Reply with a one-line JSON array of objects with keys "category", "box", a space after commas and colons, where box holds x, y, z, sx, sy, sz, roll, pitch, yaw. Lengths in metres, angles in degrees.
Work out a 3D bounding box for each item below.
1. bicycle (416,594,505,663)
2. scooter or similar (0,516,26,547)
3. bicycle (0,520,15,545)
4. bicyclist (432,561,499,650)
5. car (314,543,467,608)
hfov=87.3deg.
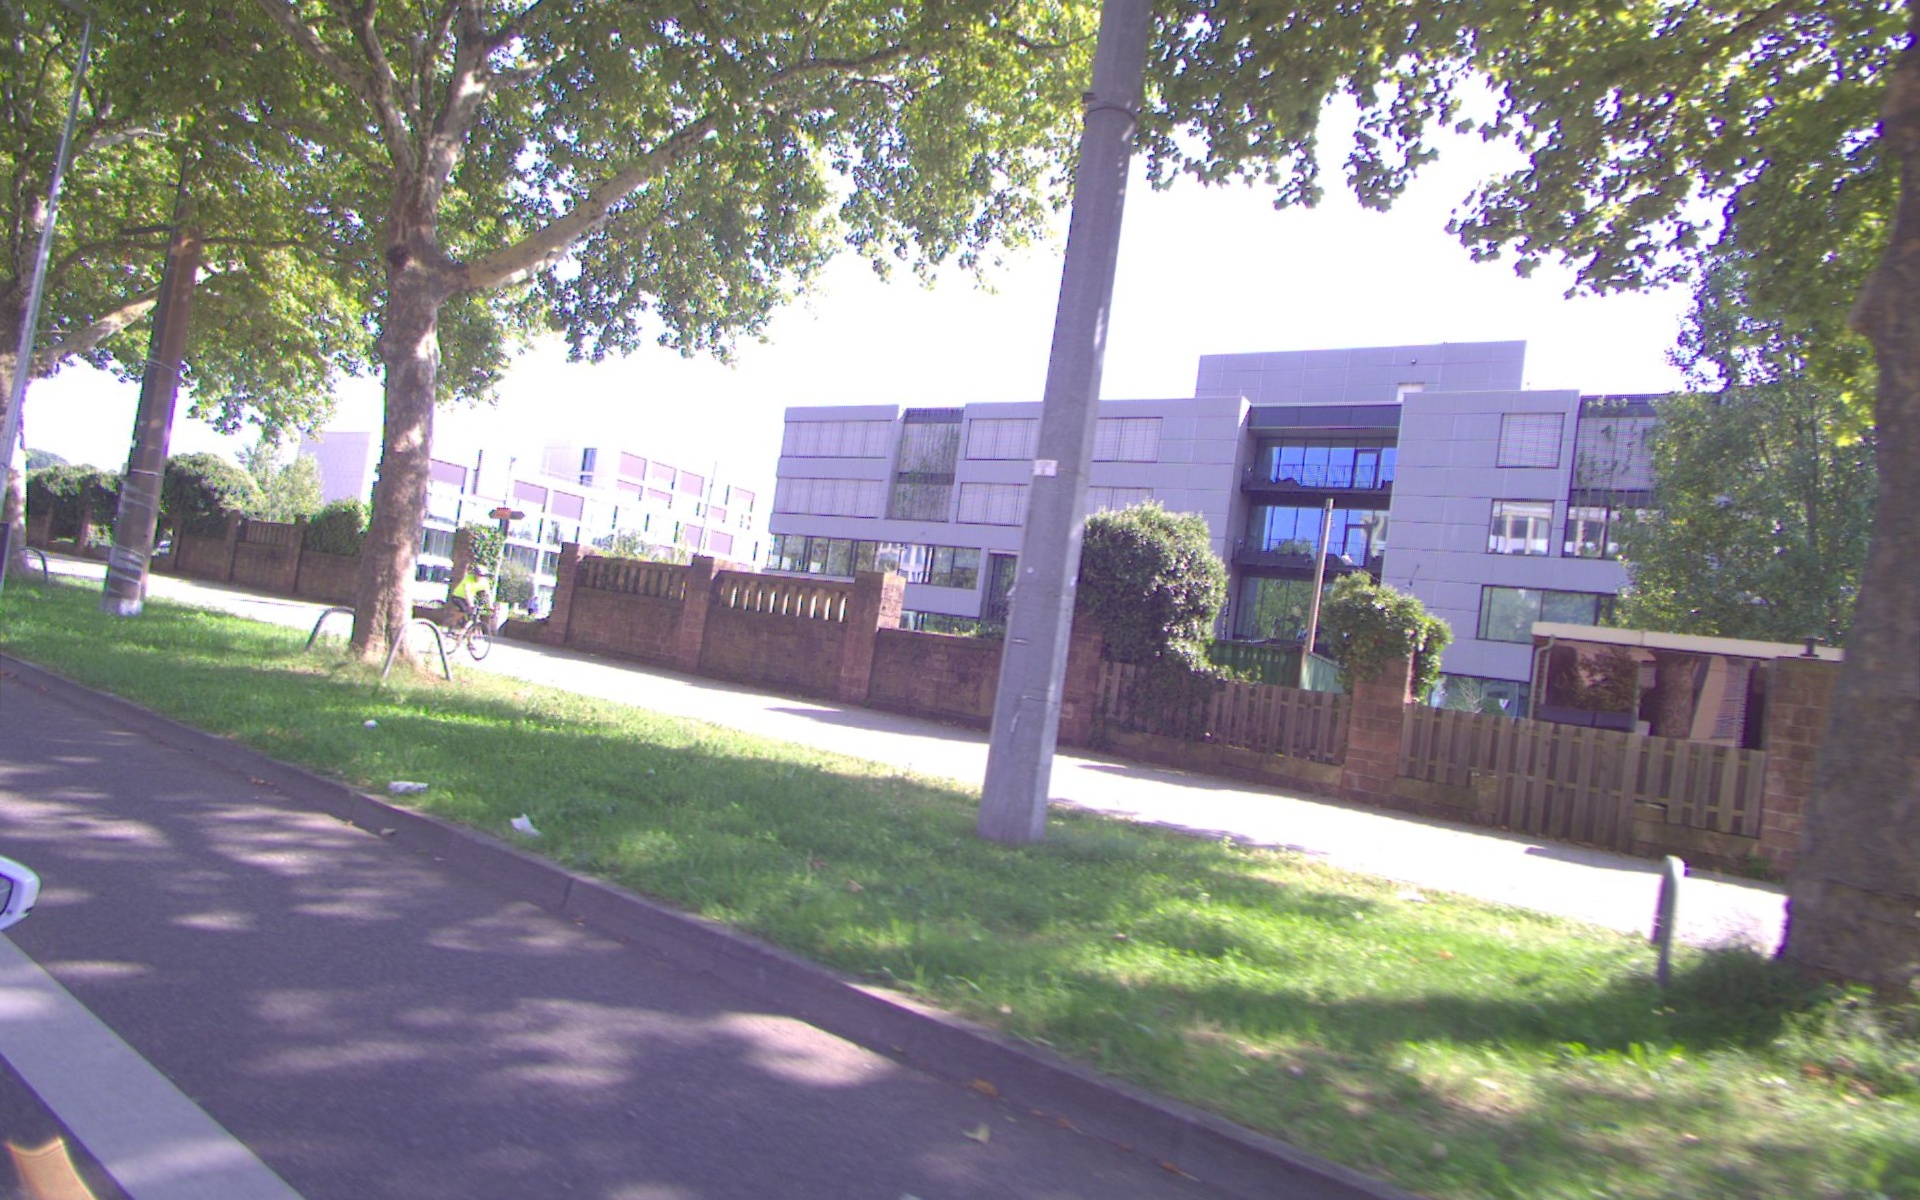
[{"category": "bicycle", "box": [-8.957, 0.507, 18.005, 1.686, 1.018, 0.549, 6, -2, 34]}, {"category": "scooter or similar", "box": [-41.345, -3.000, 43.285, 0.530, 1.205, 1.506, 6, -2, 37]}, {"category": "bicycle", "box": [-42.502, -3.086, 43.724, 0.723, 1.017, 1.872, 6, -3, 31]}, {"category": "bicyclist", "box": [-8.829, 0.099, 17.968, 0.828, 1.469, 0.549, 6, -2, 33]}, {"category": "car", "box": [-21.323, -0.877, 37.886, 1.878, 1.753, 4.532, 7, -3, 31]}]
